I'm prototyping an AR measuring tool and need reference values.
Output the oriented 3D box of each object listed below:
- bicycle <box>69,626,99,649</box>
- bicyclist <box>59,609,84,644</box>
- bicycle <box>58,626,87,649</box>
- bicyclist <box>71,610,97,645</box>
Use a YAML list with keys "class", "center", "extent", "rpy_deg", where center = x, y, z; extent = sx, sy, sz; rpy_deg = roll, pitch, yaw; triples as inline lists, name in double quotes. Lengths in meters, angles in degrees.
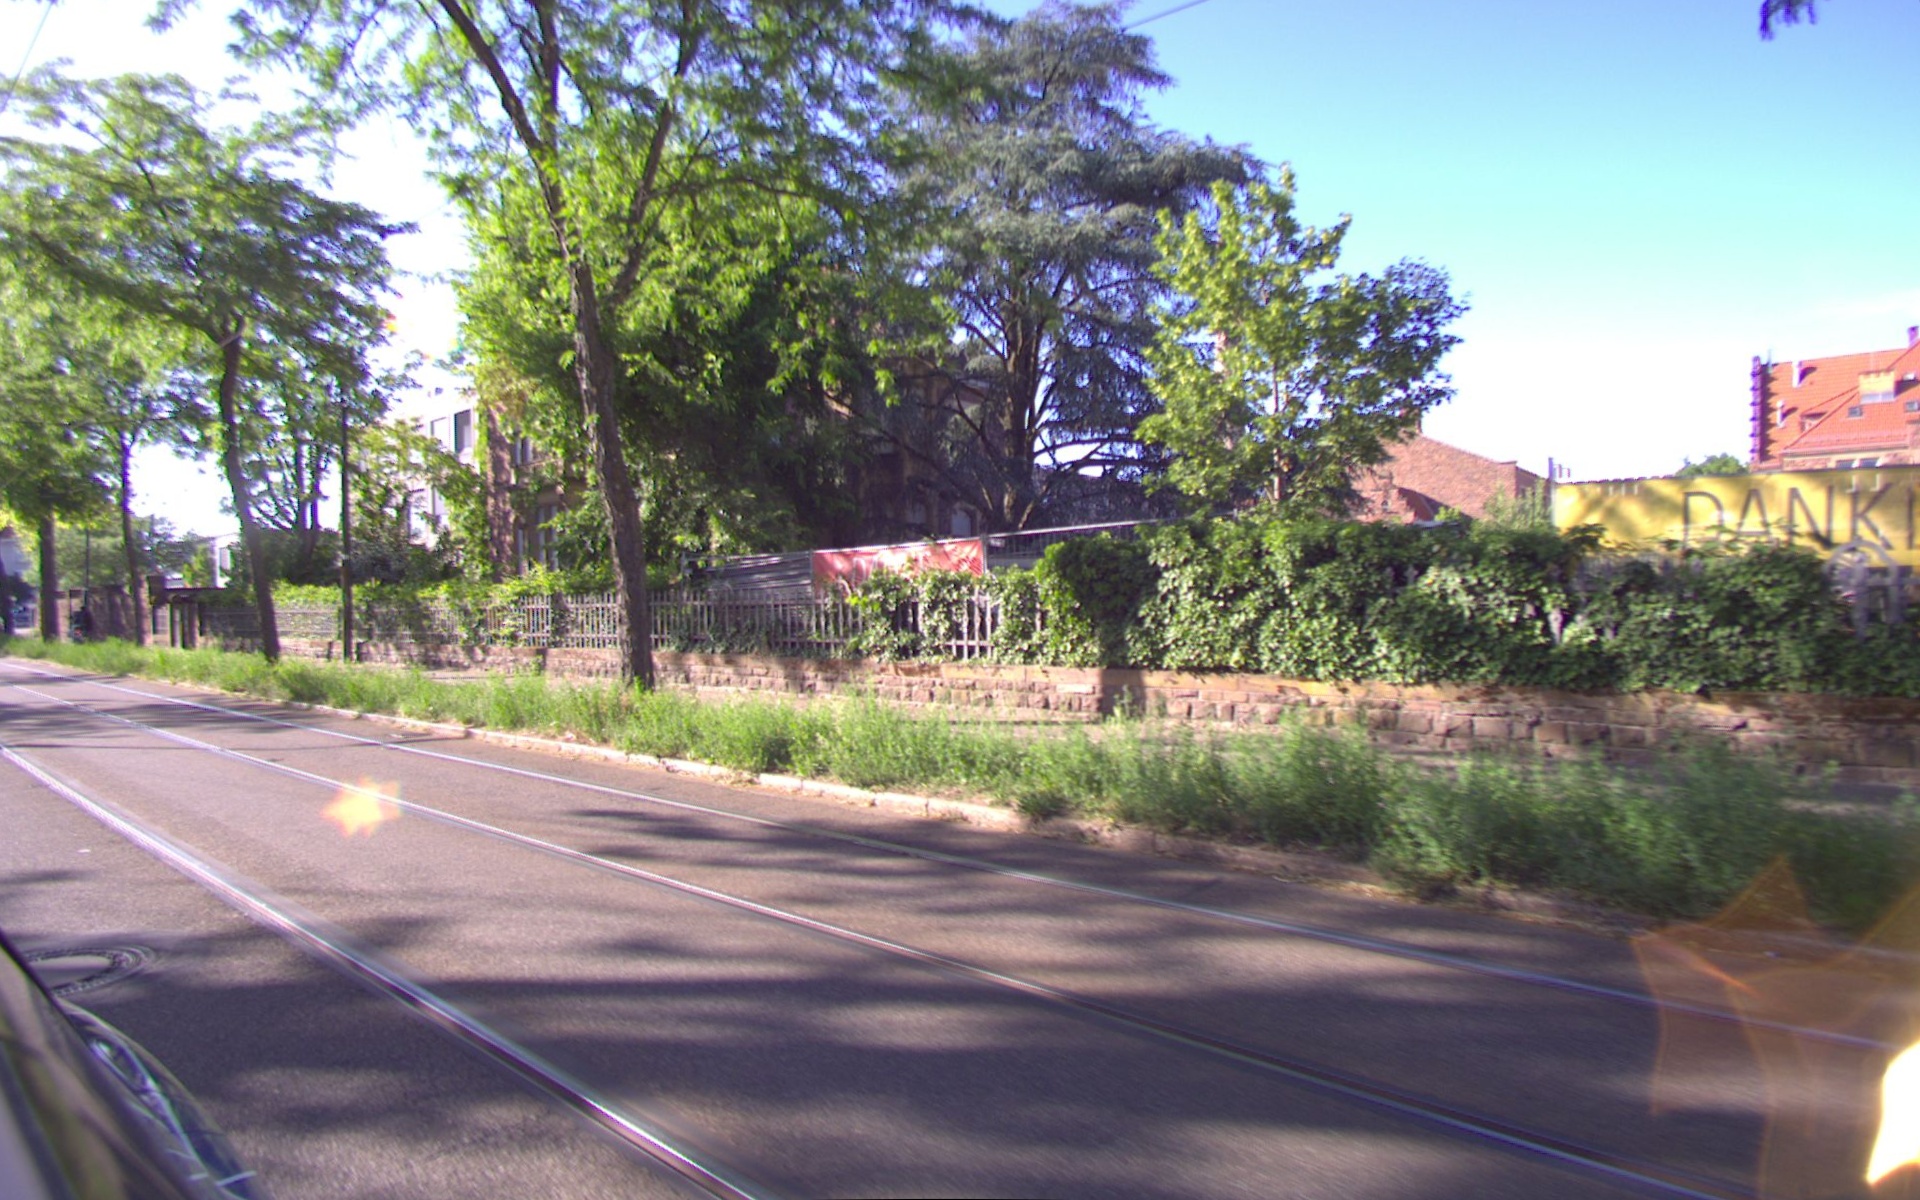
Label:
- class: "bicycle"
  center: [-37.397, 1.596, 43.205]
  extent: [2.094, 0.967, 0.703]
  rpy_deg: [-1, -1, 42]
- class: "bicyclist"
  center: [-39.957, 1.176, 45.509]
  extent: [0.956, 1.510, 0.702]
  rpy_deg: [-1, 2, 41]
- class: "bicycle"
  center: [-39.909, 1.669, 45.482]
  extent: [1.887, 0.981, 0.710]
  rpy_deg: [-1, 2, 41]
- class: "bicyclist"
  center: [-37.395, 1.179, 43.202]
  extent: [1.041, 1.481, 0.701]
  rpy_deg: [-2, -1, 42]
